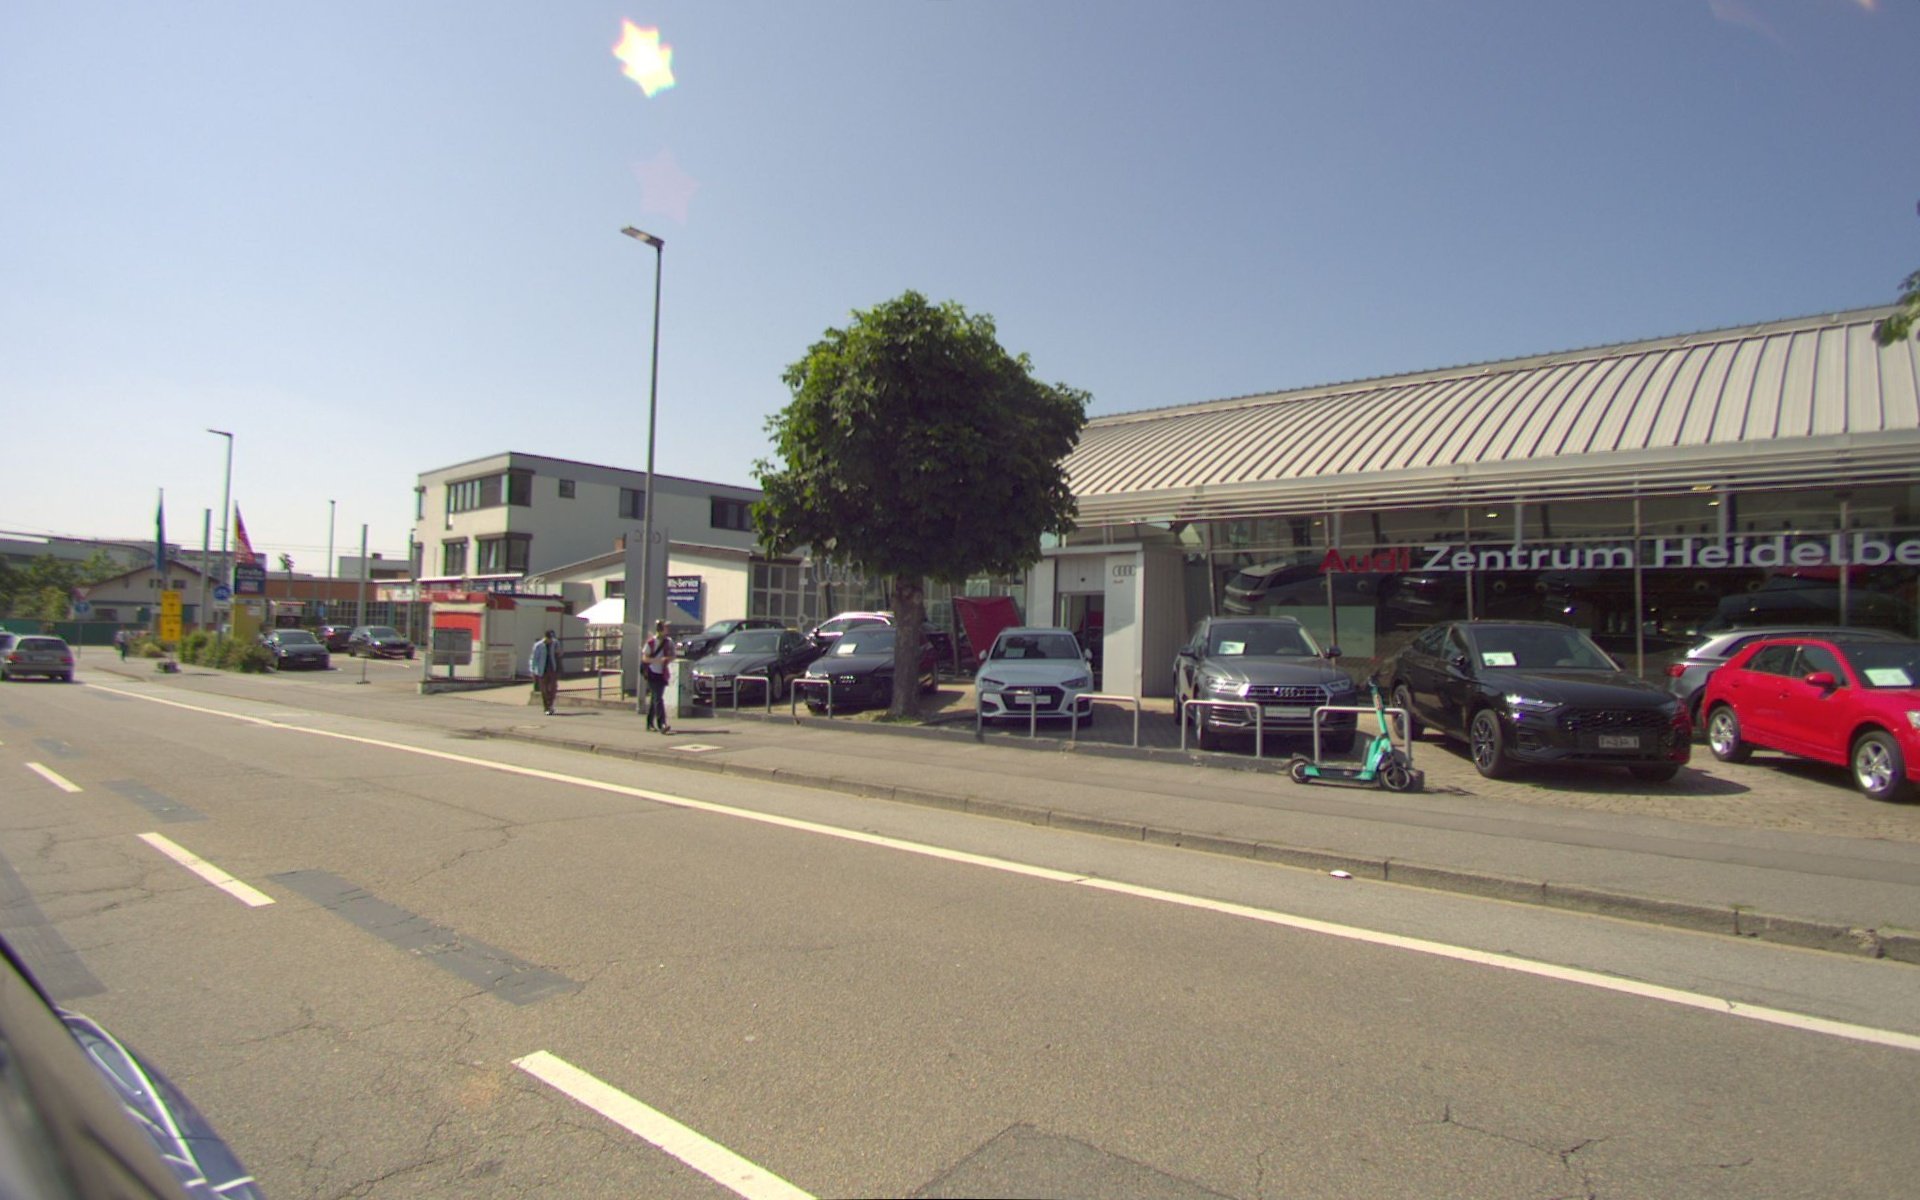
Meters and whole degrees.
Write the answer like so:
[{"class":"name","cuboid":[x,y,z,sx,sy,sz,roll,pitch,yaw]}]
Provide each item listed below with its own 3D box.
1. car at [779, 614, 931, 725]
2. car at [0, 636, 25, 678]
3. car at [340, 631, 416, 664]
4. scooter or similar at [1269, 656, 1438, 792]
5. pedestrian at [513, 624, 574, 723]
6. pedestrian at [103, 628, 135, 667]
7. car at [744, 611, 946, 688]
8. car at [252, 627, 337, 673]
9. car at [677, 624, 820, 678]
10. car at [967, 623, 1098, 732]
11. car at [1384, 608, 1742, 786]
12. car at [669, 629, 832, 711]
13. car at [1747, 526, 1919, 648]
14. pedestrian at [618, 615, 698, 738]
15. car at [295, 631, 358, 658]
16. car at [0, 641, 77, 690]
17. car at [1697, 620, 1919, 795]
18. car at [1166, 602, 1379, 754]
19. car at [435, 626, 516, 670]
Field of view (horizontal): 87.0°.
[{"class":"car","cuboid":[-1.834,1.203,19.181,1.941,1.621,4.476,-4,0,5]},{"class":"car","cuboid":[-35.922,2.072,37.443,4.242,1.465,1.642,-2,-6,44]},{"class":"car","cuboid":[-26.989,2.185,46.853,4.420,1.432,1.886,-2,-4,44]},{"class":"scooter or similar","cuboid":[3.996,1.208,10.302,1.486,1.257,0.737,-1,-3,33]},{"class":"pedestrian","cuboid":[-8.084,1.404,19.648,0.911,1.862,0.715,-2,-4,42]},{"class":"pedestrian","cuboid":[-36.679,2.074,44.154,0.981,1.698,0.801,3,-4,-38]},{"class":"car","cuboid":[-2.906,1.187,25.430,4.706,1.732,1.983,-1,0,26]},{"class":"car","cuboid":[-26.385,1.983,40.110,4.000,1.728,1.884,-2,-4,43]},{"class":"car","cuboid":[-6.449,1.554,31.166,1.897,1.537,3.944,-2,-3,42]},{"class":"car","cuboid":[1.210,1.146,16.480,1.851,1.506,4.196,0,-1,5]},{"class":"car","cuboid":[6.779,0.977,12.082,1.887,1.721,4.473,0,-1,5]},{"class":"car","cuboid":[-4.216,1.373,21.098,1.888,1.470,4.146,-1,-1,11]},{"class":"car","cuboid":[14.152,-0.153,14.600,1.967,1.697,4.009,2,-3,-36]},{"class":"pedestrian","cuboid":[-4.807,1.201,16.095,1.046,1.882,0.725,-2,-4,40]},{"class":"car","cuboid":[-35.042,2.446,55.933,4.486,1.399,1.886,-2,-4,44]},{"class":"car","cuboid":[-29.229,2.007,31.656,4.321,1.415,1.724,-2,-5,41]},{"class":"car","cuboid":[9.766,1.016,10.469,1.839,1.562,3.987,0,-2,10]},{"class":"car","cuboid":[4.004,0.970,13.801,1.836,1.709,4.572,0,-2,5]},{"class":"car","cuboid":[-21.780,2.135,45.417,1.885,1.721,4.481,4,-2,-45]}]
